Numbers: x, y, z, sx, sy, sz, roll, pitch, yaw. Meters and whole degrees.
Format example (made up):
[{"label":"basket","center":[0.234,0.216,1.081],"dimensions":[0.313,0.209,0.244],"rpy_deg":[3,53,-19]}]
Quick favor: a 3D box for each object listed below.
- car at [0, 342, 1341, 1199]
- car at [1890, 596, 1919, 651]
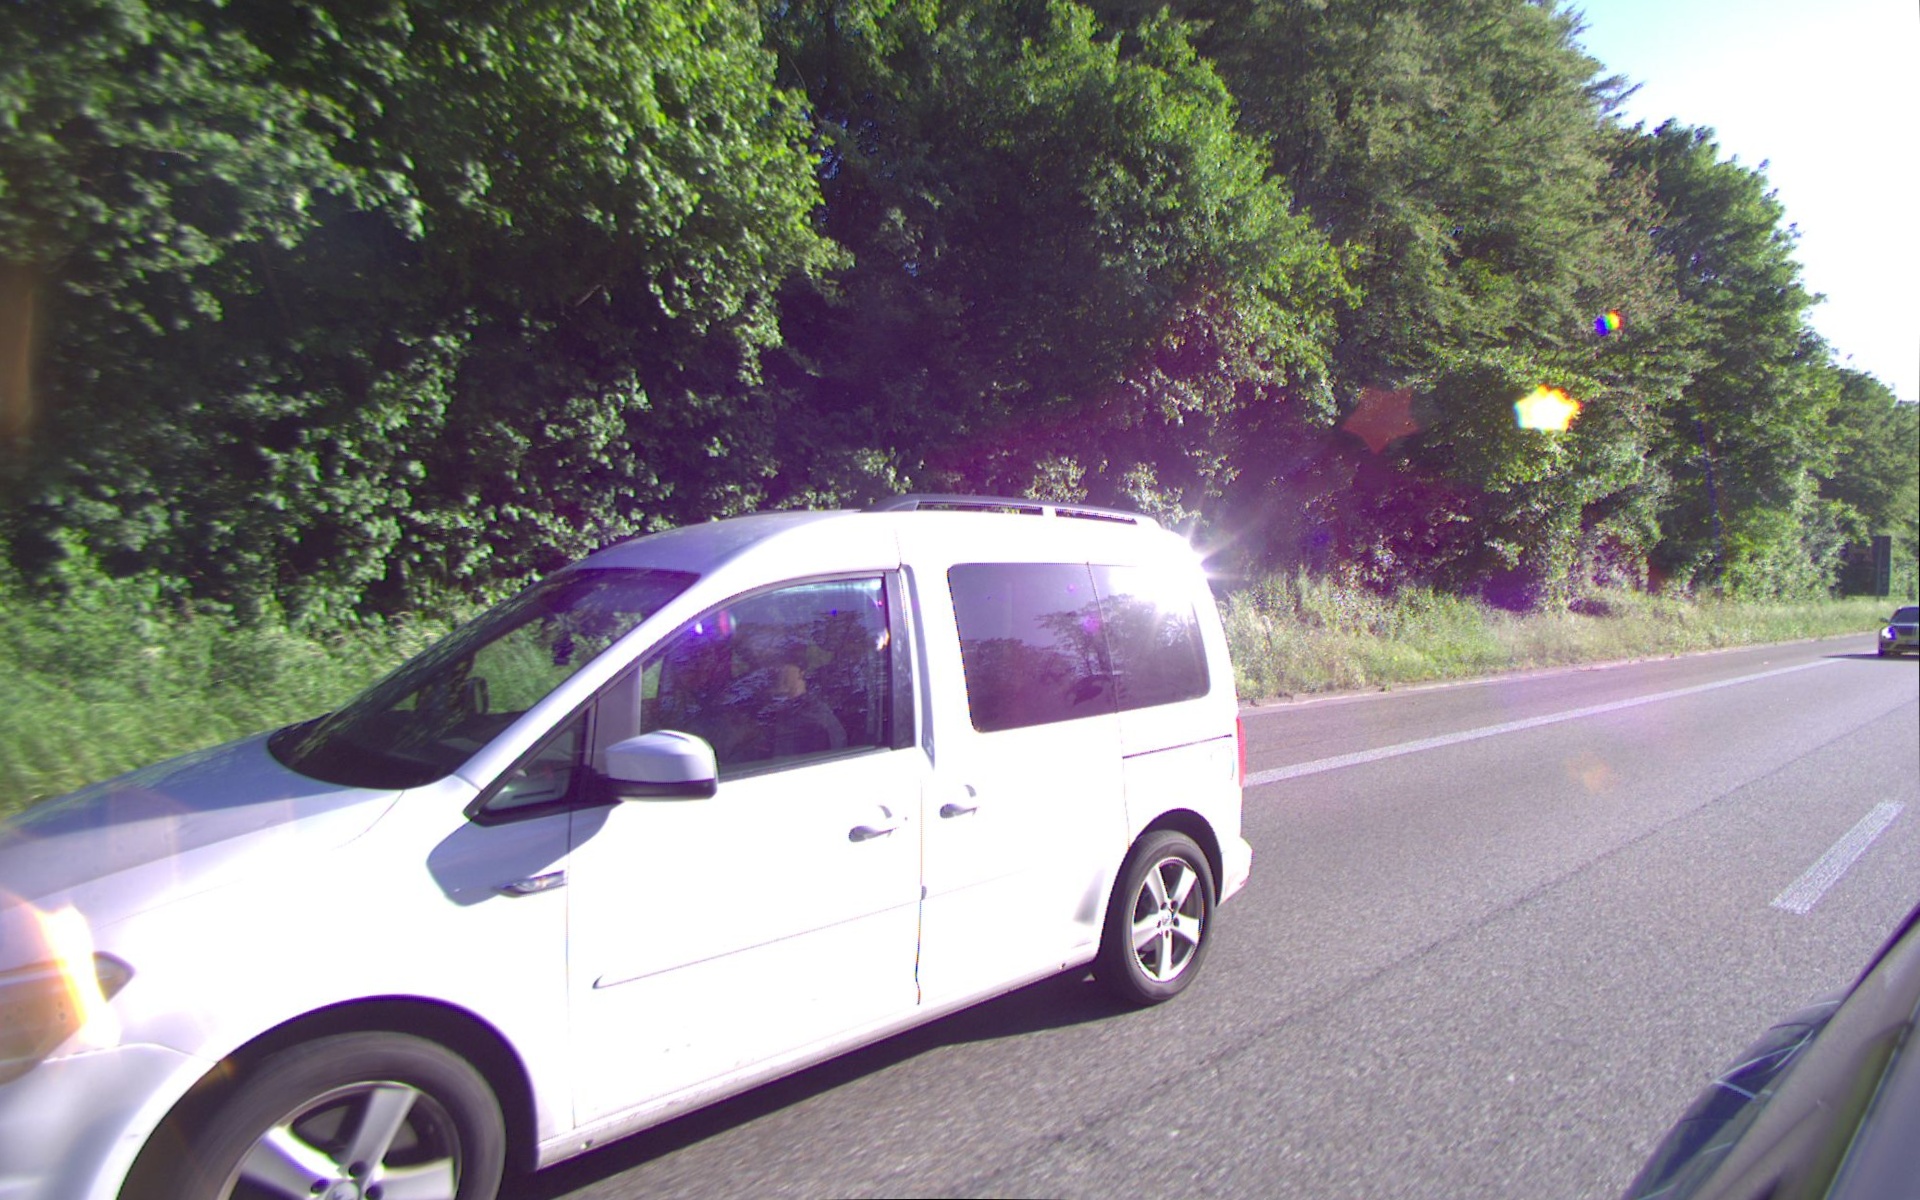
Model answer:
[{"label":"car","center":[-0.608,0.485,3.612],"dimensions":[4.508,1.836,1.801],"rpy_deg":[-1,0,-42]},{"label":"car","center":[27.478,0.634,28.334],"dimensions":[3.811,1.467,1.792],"rpy_deg":[0,0,-42]}]
